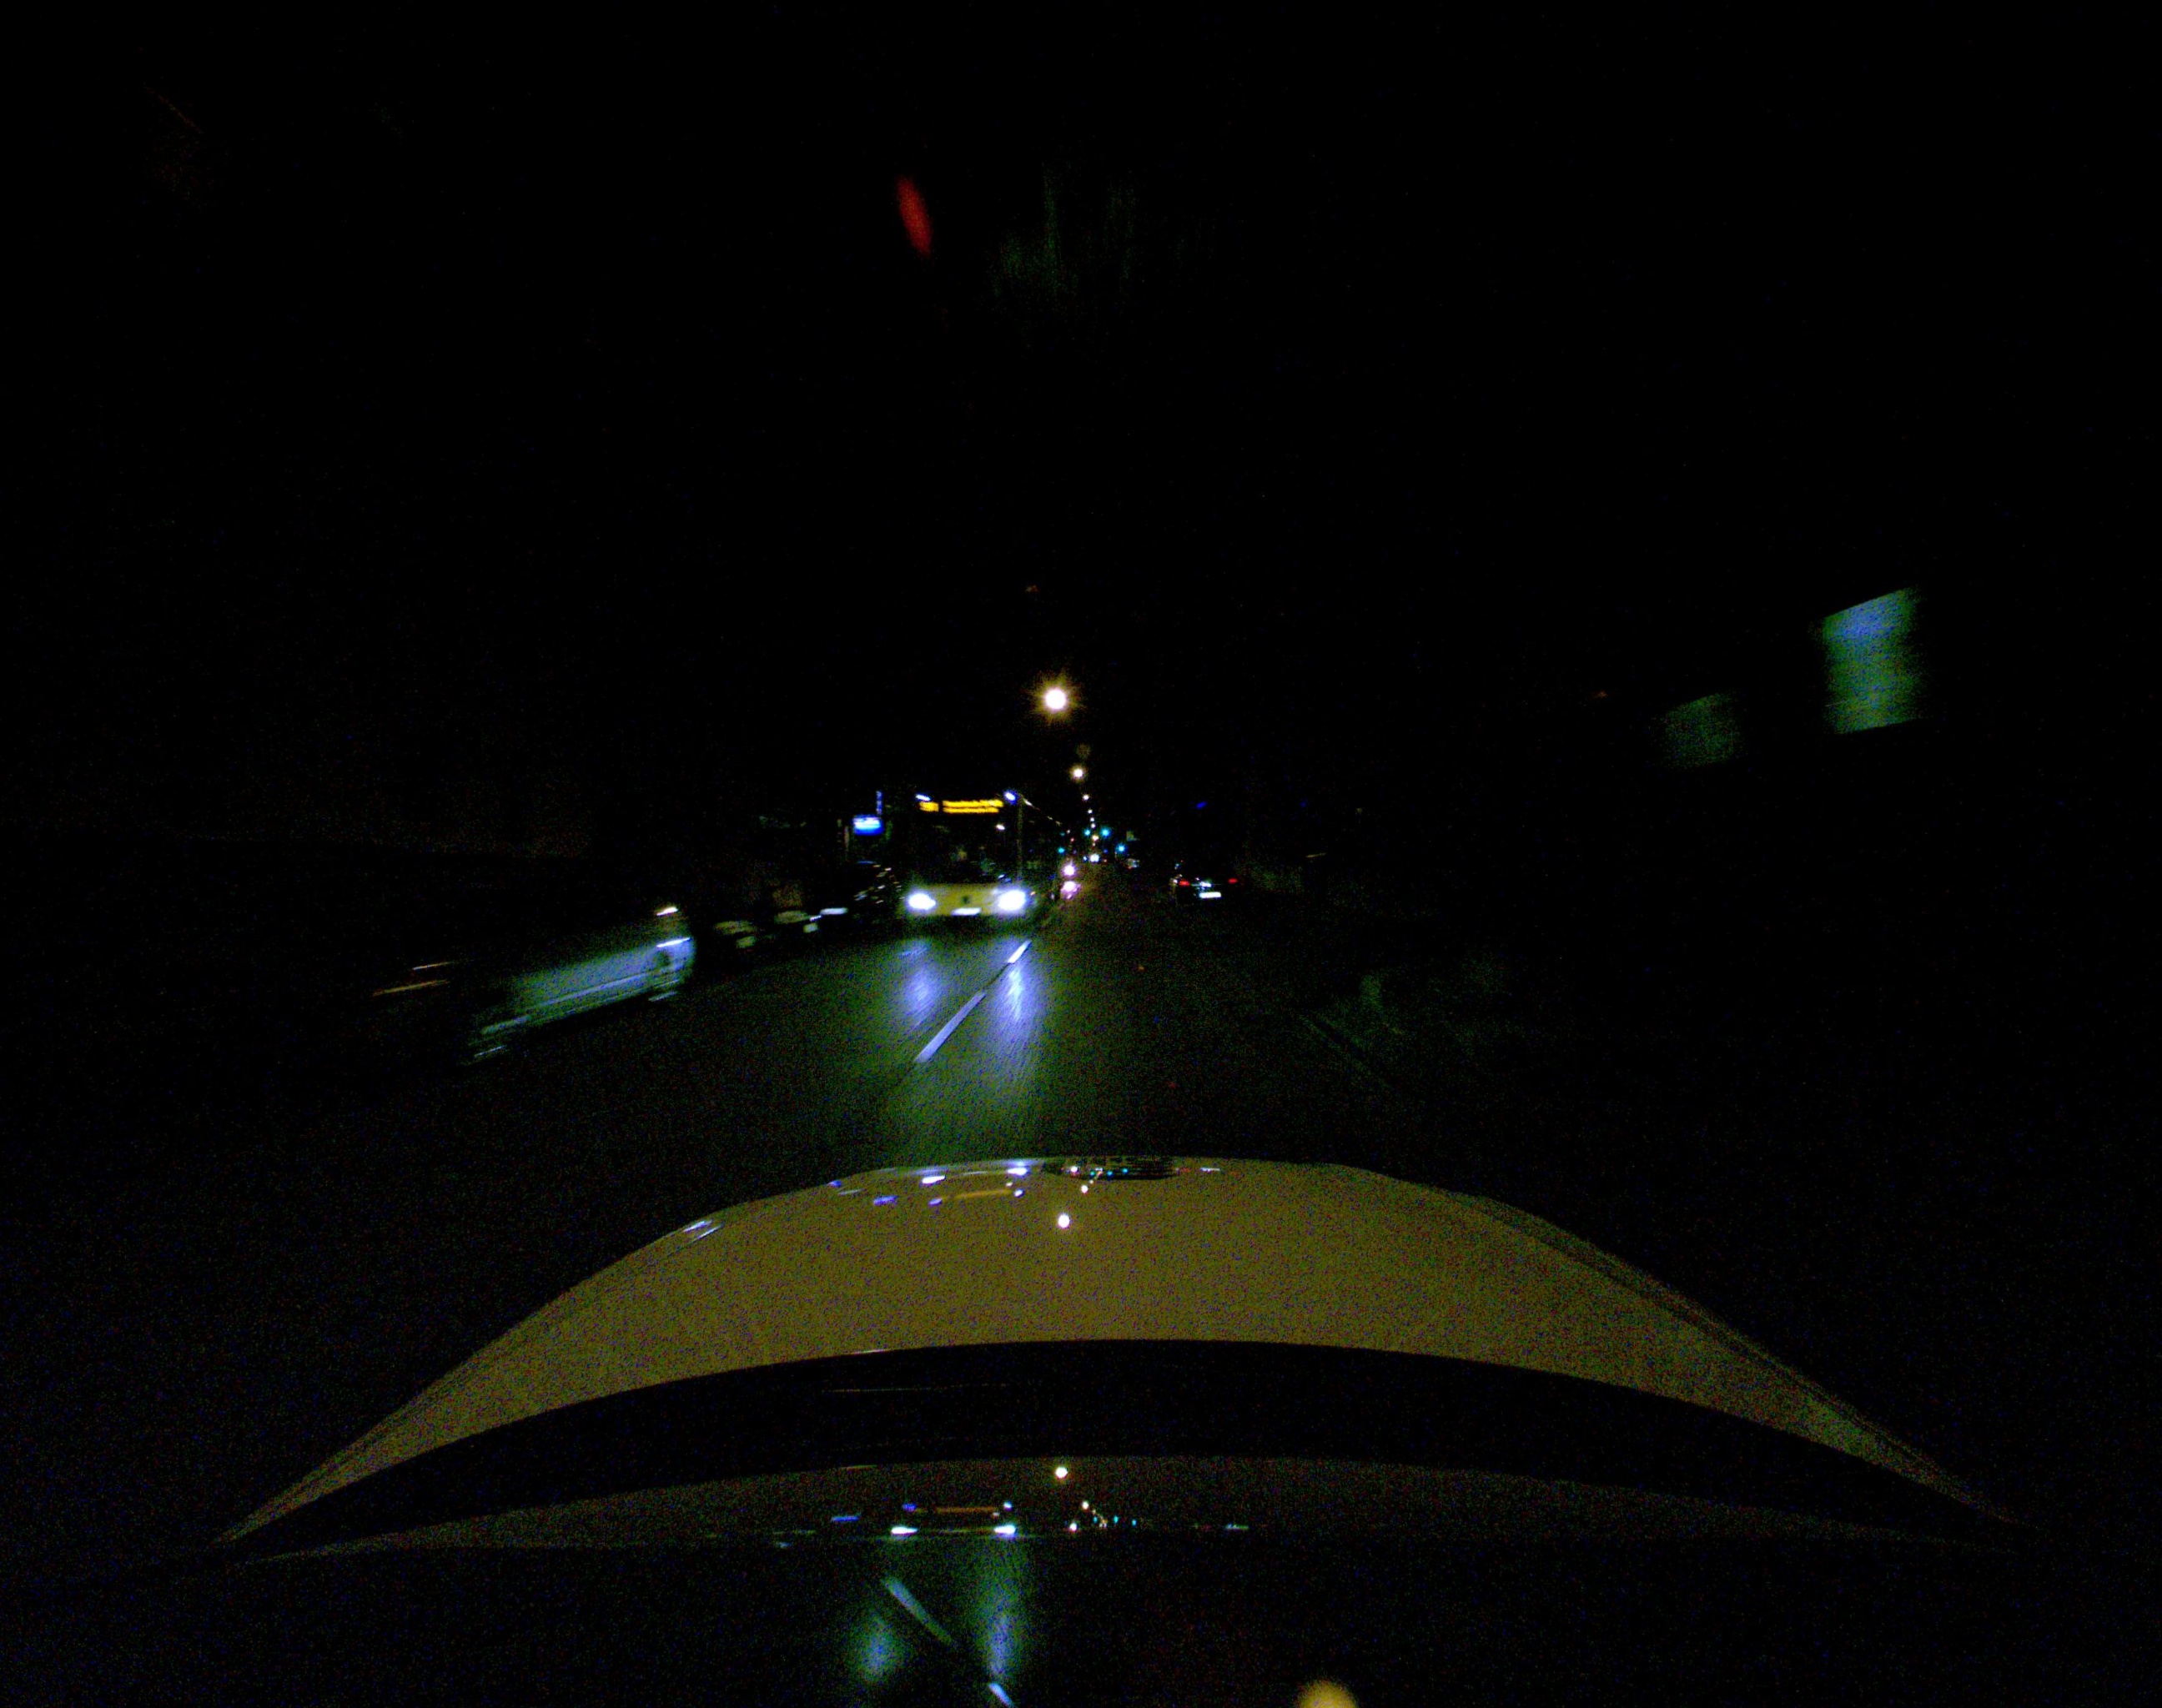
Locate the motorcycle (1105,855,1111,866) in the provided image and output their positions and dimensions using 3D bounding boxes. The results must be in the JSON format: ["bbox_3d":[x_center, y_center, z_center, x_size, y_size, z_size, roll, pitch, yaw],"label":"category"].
[{"bbox_3d":[4.270,1.066,130.664,0.927,1.752,2.625,-1,-1,2],"label":"motorcycle"}]

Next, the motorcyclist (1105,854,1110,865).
[{"bbox_3d":[4.269,0.912,130.811,0.845,1.752,0.806,-1,-1,1],"label":"motorcyclist"}]

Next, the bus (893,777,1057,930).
[{"bbox_3d":[-2.390,-0.005,22.449,2.827,3.177,10.501,-1,0,2],"label":"bus"}]

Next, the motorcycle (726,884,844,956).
[{"bbox_3d":[-5.120,1.108,14.017,2.180,1.131,0.720,-2,0,34],"label":"motorcycle"}]

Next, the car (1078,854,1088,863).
[{"bbox_3d":[0.361,0.850,163.165,1.937,1.717,4.001,-1,-1,2],"label":"car"}]

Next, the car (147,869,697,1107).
[{"bbox_3d":[-5.568,0.965,7.763,1.698,1.491,4.228,-3,0,1],"label":"car"}]

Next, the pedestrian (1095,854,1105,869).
[{"bbox_3d":[2.157,0.908,94.099,0.926,1.699,0.762,1,0,-17],"label":"pedestrian"}]

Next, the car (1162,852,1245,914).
[{"bbox_3d":[3.347,0.739,22.883,1.756,1.476,4.082,-3,0,2],"label":"car"}]

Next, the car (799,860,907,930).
[{"bbox_3d":[-5.309,0.924,19.294,1.632,1.498,2.767,-2,-1,3],"label":"car"}]

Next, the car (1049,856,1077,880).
[{"bbox_3d":[-1.143,0.911,53.894,1.640,1.422,3.870,-3,0,0],"label":"car"}]

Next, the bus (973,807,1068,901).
[{"bbox_3d":[-2.122,0.004,31.546,2.827,3.177,7.664,-1,0,2],"label":"bus"}]

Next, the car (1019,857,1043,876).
[{"bbox_3d":[-4.128,1.002,67.945,1.715,1.437,4.809,-2,0,0],"label":"car"}]

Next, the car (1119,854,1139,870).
[{"bbox_3d":[4.957,0.793,85.057,1.862,1.526,4.151,-3,0,1],"label":"car"}]

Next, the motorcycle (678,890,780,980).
[{"bbox_3d":[-5.225,1.133,11.999,0.720,1.147,2.182,-2,0,-41],"label":"motorcycle"}]

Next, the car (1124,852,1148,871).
[{"bbox_3d":[4.804,0.640,71.563,1.805,1.594,4.275,-3,0,1],"label":"car"}]
